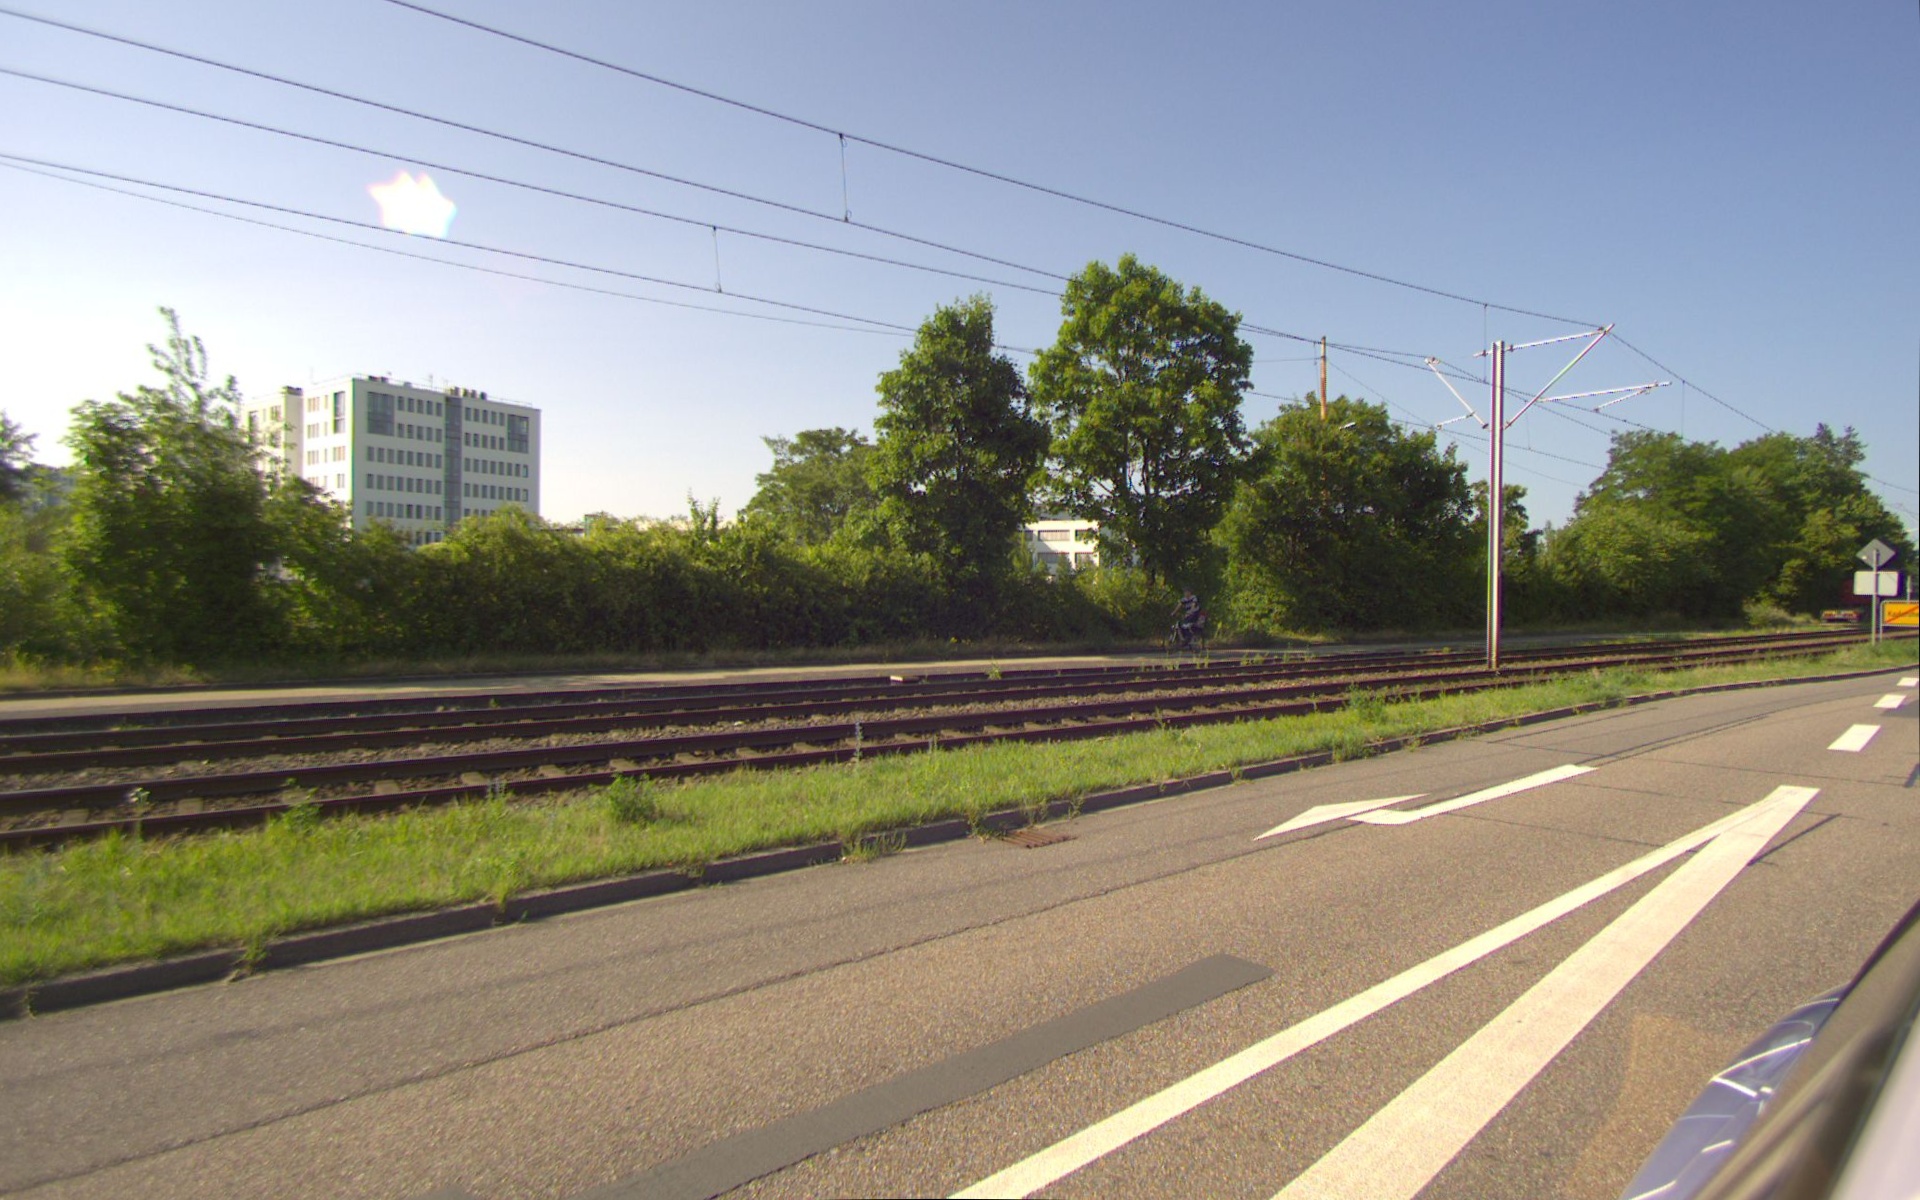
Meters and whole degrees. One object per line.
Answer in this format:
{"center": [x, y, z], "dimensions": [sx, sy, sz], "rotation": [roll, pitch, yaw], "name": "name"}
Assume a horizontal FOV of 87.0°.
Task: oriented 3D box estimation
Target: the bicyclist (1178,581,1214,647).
{"center": [6.615, 0.381, 28.369], "dimensions": [0.704, 1.830, 0.708], "rotation": [0, 0, -38], "name": "bicyclist"}

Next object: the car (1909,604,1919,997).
{"center": [5.752, 0.733, 4.483], "dimensions": [4.383, 1.442, 1.819], "rotation": [0, 0, -41], "name": "car"}

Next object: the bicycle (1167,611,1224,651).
{"center": [6.622, 0.845, 28.392], "dimensions": [1.840, 1.060, 0.547], "rotation": [0, 1, -39], "name": "bicycle"}
